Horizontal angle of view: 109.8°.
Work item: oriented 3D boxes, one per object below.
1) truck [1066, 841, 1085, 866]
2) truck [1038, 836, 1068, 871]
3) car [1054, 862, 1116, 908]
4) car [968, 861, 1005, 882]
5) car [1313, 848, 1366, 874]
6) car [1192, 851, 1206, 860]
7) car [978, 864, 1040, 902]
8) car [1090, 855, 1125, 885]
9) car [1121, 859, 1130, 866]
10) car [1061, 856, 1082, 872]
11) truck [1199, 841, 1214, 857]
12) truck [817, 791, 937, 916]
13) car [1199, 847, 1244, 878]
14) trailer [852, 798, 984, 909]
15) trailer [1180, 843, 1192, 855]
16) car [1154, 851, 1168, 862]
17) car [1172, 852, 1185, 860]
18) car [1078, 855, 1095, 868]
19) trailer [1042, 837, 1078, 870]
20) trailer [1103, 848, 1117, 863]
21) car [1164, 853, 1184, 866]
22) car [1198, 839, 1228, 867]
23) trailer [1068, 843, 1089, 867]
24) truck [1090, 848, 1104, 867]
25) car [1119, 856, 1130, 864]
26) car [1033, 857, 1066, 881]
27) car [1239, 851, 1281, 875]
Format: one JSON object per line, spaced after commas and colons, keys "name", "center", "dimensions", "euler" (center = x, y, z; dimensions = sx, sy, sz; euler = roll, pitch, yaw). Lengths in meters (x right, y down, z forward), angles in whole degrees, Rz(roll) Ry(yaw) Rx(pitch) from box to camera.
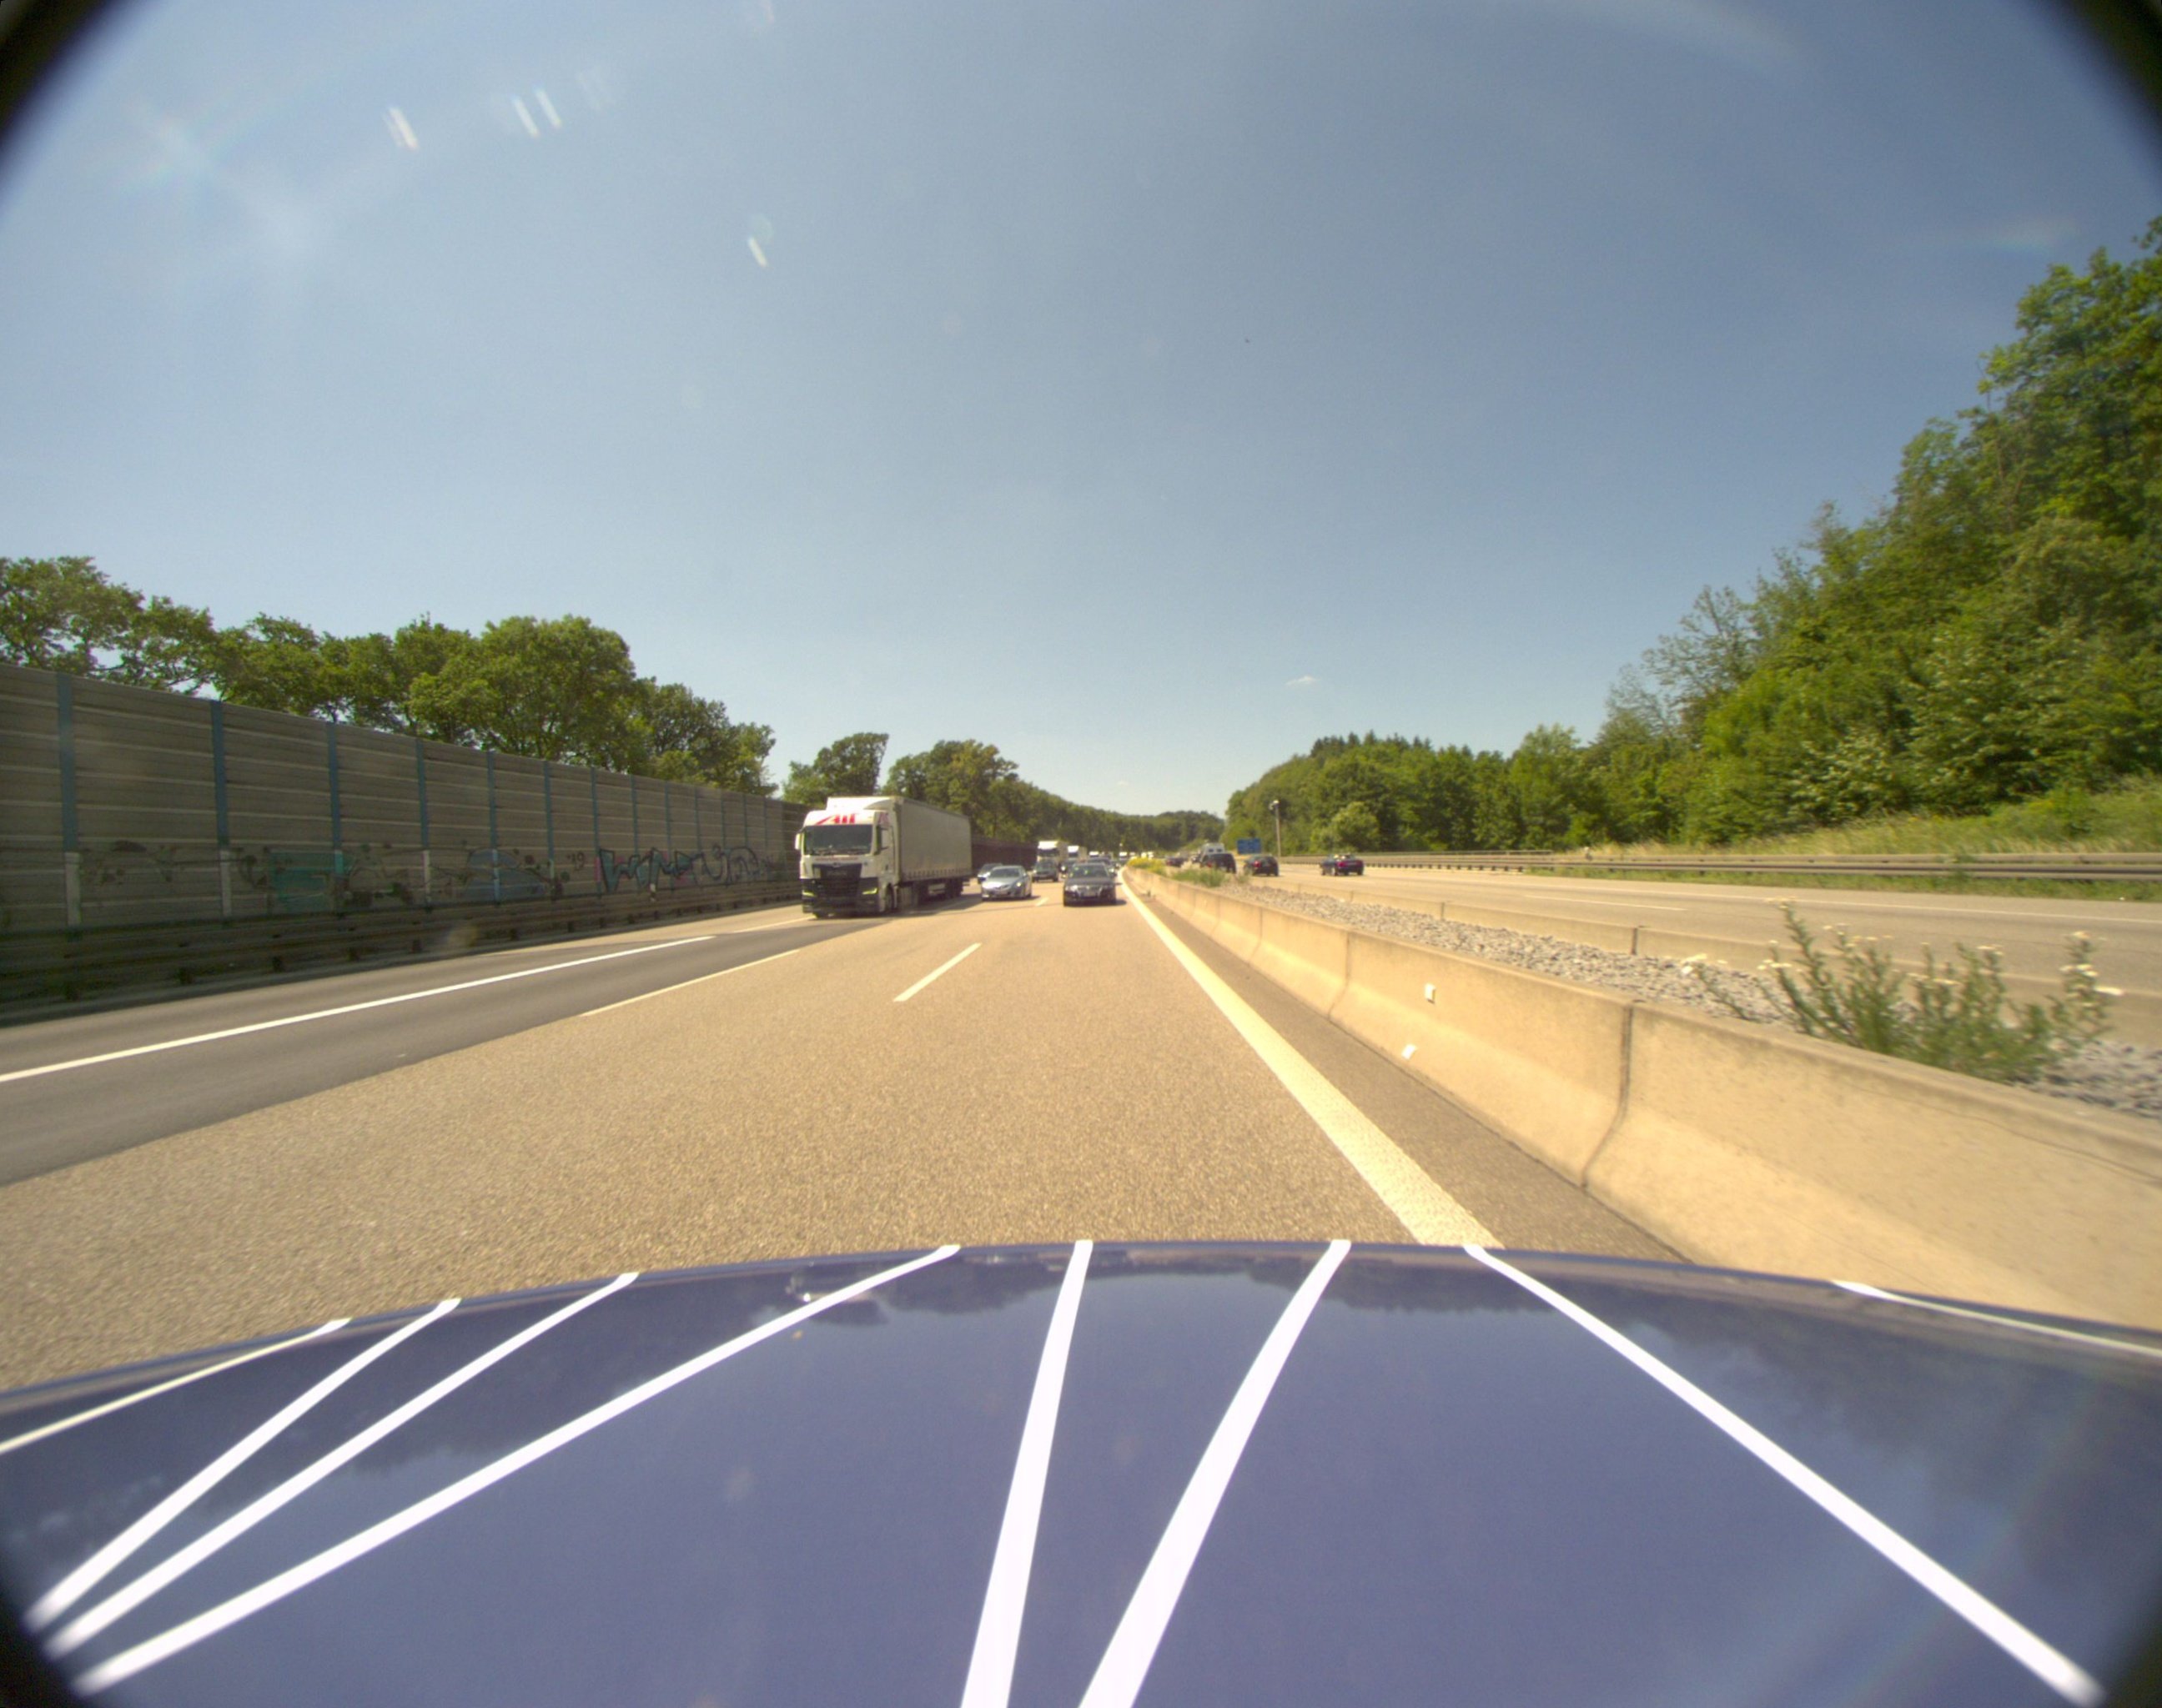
{"name": "truck", "center": [-0.894, -0.114, 133.754], "dimensions": [2.544, 4.149, 4.748], "euler": [-2, 0, 7]}
{"name": "truck", "center": [-3.545, -0.064, 97.444], "dimensions": [2.811, 4.190, 5.424], "euler": [-2, 0, 7]}
{"name": "car", "center": [0.226, 1.043, 26.848], "dimensions": [1.907, 1.410, 4.001], "euler": [-2, 0, 3]}
{"name": "car", "center": [-6.995, 1.270, 56.618], "dimensions": [1.860, 1.484, 4.178], "euler": [-2, 0, 5]}
{"name": "car", "center": [15.445, 0.415, 45.598], "dimensions": [1.844, 1.444, 4.001], "euler": [-2, 0, 1]}
{"name": "car", "center": [22.140, 0.277, 142.460], "dimensions": [1.998, 1.472, 4.691], "euler": [-2, 0, 3]}
{"name": "car", "center": [-3.021, 1.199, 32.730], "dimensions": [1.860, 1.426, 4.178], "euler": [-2, 0, 5]}
{"name": "car", "center": [1.636, 0.911, 45.821], "dimensions": [1.998, 1.641, 4.001], "euler": [-2, 0, 3]}
{"name": "car", "center": [10.813, 2.055, 184.144], "dimensions": [1.998, 1.641, 4.002], "euler": [-2, 0, 5]}
{"name": "car", "center": [-0.990, 1.096, 83.045], "dimensions": [1.998, 1.641, 4.001], "euler": [-2, 0, 2]}
{"name": "truck", "center": [29.024, -1.190, 176.044], "dimensions": [2.741, 3.454, 7.317], "euler": [-2, 0, 5]}
{"name": "truck", "center": [-7.267, -0.016, 27.895], "dimensions": [2.604, 4.066, 5.553], "euler": [-2, 0, 2]}
{"name": "car", "center": [8.599, 0.519, 46.735], "dimensions": [1.998, 1.713, 4.357], "euler": [-2, 0, 1]}
{"name": "trailer", "center": [-7.001, -0.041, 35.323], "dimensions": [2.604, 4.066, 13.593], "euler": [-2, 0, 2]}
{"name": "trailer", "center": [33.517, -1.541, 242.790], "dimensions": [2.787, 3.834, 10.173], "euler": [-2, 0, 3]}
{"name": "car", "center": [12.208, 0.388, 115.791], "dimensions": [1.808, 1.518, 4.257], "euler": [-2, 0, 2]}
{"name": "car", "center": [17.162, 0.361, 133.765], "dimensions": [1.847, 1.412, 4.234], "euler": [-2, 0, 2]}
{"name": "car", "center": [0.760, 1.057, 102.221], "dimensions": [1.998, 1.641, 4.002], "euler": [-2, 0, 5]}
{"name": "trailer", "center": [-2.758, -0.037, 104.175], "dimensions": [2.820, 4.190, 13.472], "euler": [-2, 0, 7]}
{"name": "trailer", "center": [8.400, 0.439, 222.069], "dimensions": [3.153, 4.061, 6.187], "euler": [-2, 0, 10]}
{"name": "car", "center": [10.860, 0.670, 89.118], "dimensions": [1.880, 1.402, 4.412], "euler": [-2, 0, 2]}
{"name": "car", "center": [13.642, -0.123, 78.907], "dimensions": [2.221, 2.685, 6.063], "euler": [-2, 0, 2]}
{"name": "trailer", "center": [-0.308, 0.192, 139.062], "dimensions": [2.541, 4.149, 10.182], "euler": [-2, 0, 6]}
{"name": "truck", "center": [4.083, 0.855, 189.609], "dimensions": [2.852, 4.381, 5.242], "euler": [-2, 0, 7]}
{"name": "car", "center": [8.980, 1.252, 155.424], "dimensions": [1.998, 1.641, 4.002], "euler": [-2, 0, 5]}
{"name": "car", "center": [-2.221, 1.062, 54.350], "dimensions": [1.907, 1.550, 4.001], "euler": [-2, 0, 3]}
{"name": "car", "center": [11.682, 0.585, 49.836], "dimensions": [1.818, 1.393, 4.272], "euler": [-2, 0, 1]}
